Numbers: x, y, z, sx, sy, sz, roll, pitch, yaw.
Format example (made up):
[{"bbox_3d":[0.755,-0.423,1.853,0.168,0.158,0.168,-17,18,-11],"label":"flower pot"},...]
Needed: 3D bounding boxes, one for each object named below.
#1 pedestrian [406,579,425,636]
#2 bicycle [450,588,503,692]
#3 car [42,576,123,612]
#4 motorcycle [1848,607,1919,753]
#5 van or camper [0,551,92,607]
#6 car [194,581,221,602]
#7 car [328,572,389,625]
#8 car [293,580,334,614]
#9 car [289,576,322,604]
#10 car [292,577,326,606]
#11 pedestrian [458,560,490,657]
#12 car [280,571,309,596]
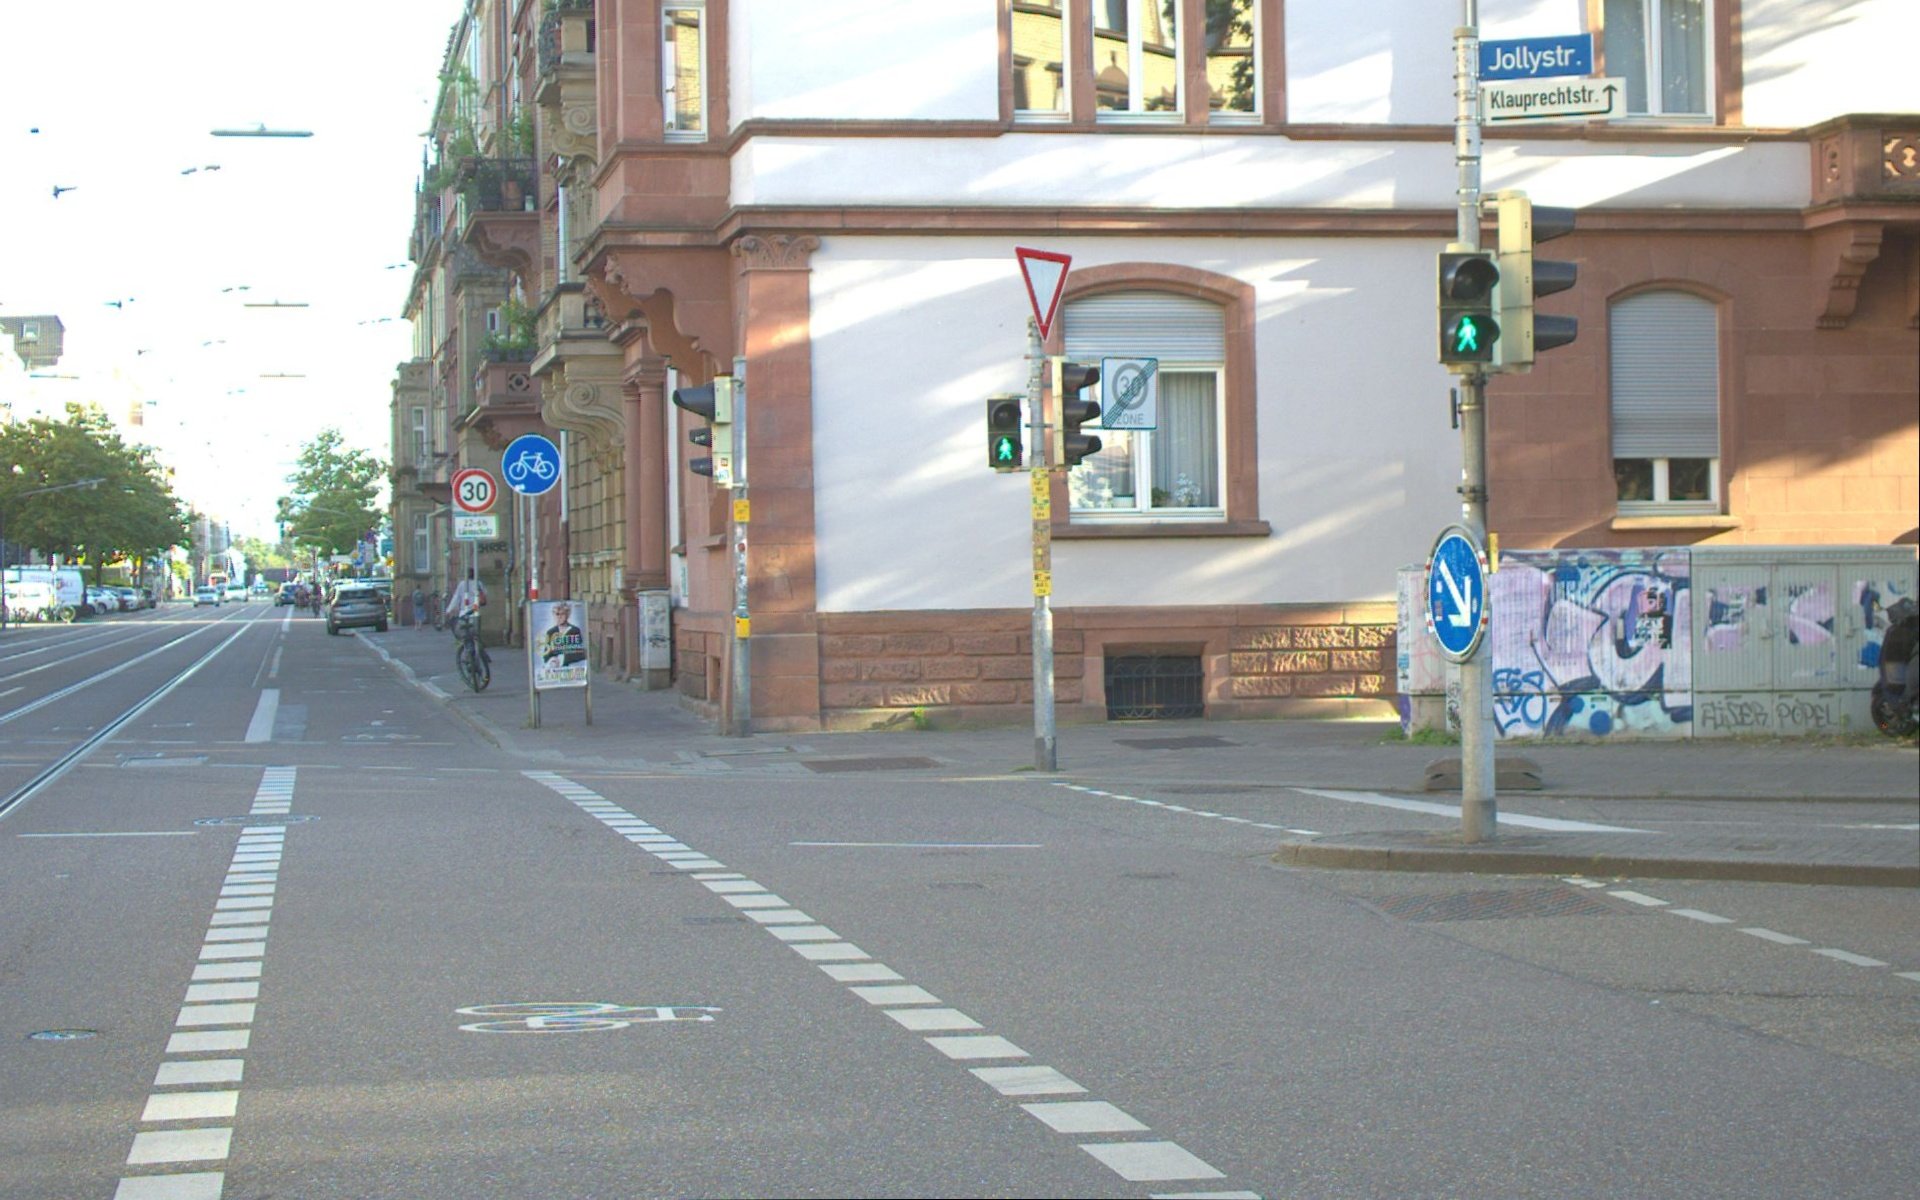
[{"bbox_3d":[-17.197,0.230,108.591,0.544,1.774,0.749,-1,0,-10],"label":"pedestrian"},{"bbox_3d":[-6.379,0.508,45.324,0.653,1.319,2.177,-1,0,-8],"label":"bicycle"},{"bbox_3d":[-49.795,-0.335,195.056,3.987,2.007,2.000,-1,0,-35],"label":"car"},{"bbox_3d":[7.781,0.618,27.645,0.719,1.016,2.287,-1,3,1],"label":"motorcycle"},{"bbox_3d":[-43.133,-0.969,160.623,4.637,2.555,1.999,0,0,-41],"label":"van or camper"},{"bbox_3d":[-54.656,-0.608,249.721,1.819,1.437,4.001,0,0,-11],"label":"car"},{"bbox_3d":[-19.888,-0.056,113.796,1.949,1.678,4.001,-1,0,-9],"label":"car"},{"bbox_3d":[-33.027,-0.132,175.506,1.993,1.722,4.001,0,0,-11],"label":"car"},{"bbox_3d":[-40.730,-0.637,213.990,1.993,1.722,4.001,0,0,-11],"label":"car"},{"bbox_3d":[-38.879,-0.512,205.326,1.993,1.722,4.001,0,0,-11],"label":"car"},{"bbox_3d":[-8.964,0.147,63.386,0.544,1.774,0.504,-1,0,-10],"label":"pedestrian"},{"bbox_3d":[-46.588,-1.122,240.697,1.993,1.722,4.001,0,0,-11],"label":"car"}]
